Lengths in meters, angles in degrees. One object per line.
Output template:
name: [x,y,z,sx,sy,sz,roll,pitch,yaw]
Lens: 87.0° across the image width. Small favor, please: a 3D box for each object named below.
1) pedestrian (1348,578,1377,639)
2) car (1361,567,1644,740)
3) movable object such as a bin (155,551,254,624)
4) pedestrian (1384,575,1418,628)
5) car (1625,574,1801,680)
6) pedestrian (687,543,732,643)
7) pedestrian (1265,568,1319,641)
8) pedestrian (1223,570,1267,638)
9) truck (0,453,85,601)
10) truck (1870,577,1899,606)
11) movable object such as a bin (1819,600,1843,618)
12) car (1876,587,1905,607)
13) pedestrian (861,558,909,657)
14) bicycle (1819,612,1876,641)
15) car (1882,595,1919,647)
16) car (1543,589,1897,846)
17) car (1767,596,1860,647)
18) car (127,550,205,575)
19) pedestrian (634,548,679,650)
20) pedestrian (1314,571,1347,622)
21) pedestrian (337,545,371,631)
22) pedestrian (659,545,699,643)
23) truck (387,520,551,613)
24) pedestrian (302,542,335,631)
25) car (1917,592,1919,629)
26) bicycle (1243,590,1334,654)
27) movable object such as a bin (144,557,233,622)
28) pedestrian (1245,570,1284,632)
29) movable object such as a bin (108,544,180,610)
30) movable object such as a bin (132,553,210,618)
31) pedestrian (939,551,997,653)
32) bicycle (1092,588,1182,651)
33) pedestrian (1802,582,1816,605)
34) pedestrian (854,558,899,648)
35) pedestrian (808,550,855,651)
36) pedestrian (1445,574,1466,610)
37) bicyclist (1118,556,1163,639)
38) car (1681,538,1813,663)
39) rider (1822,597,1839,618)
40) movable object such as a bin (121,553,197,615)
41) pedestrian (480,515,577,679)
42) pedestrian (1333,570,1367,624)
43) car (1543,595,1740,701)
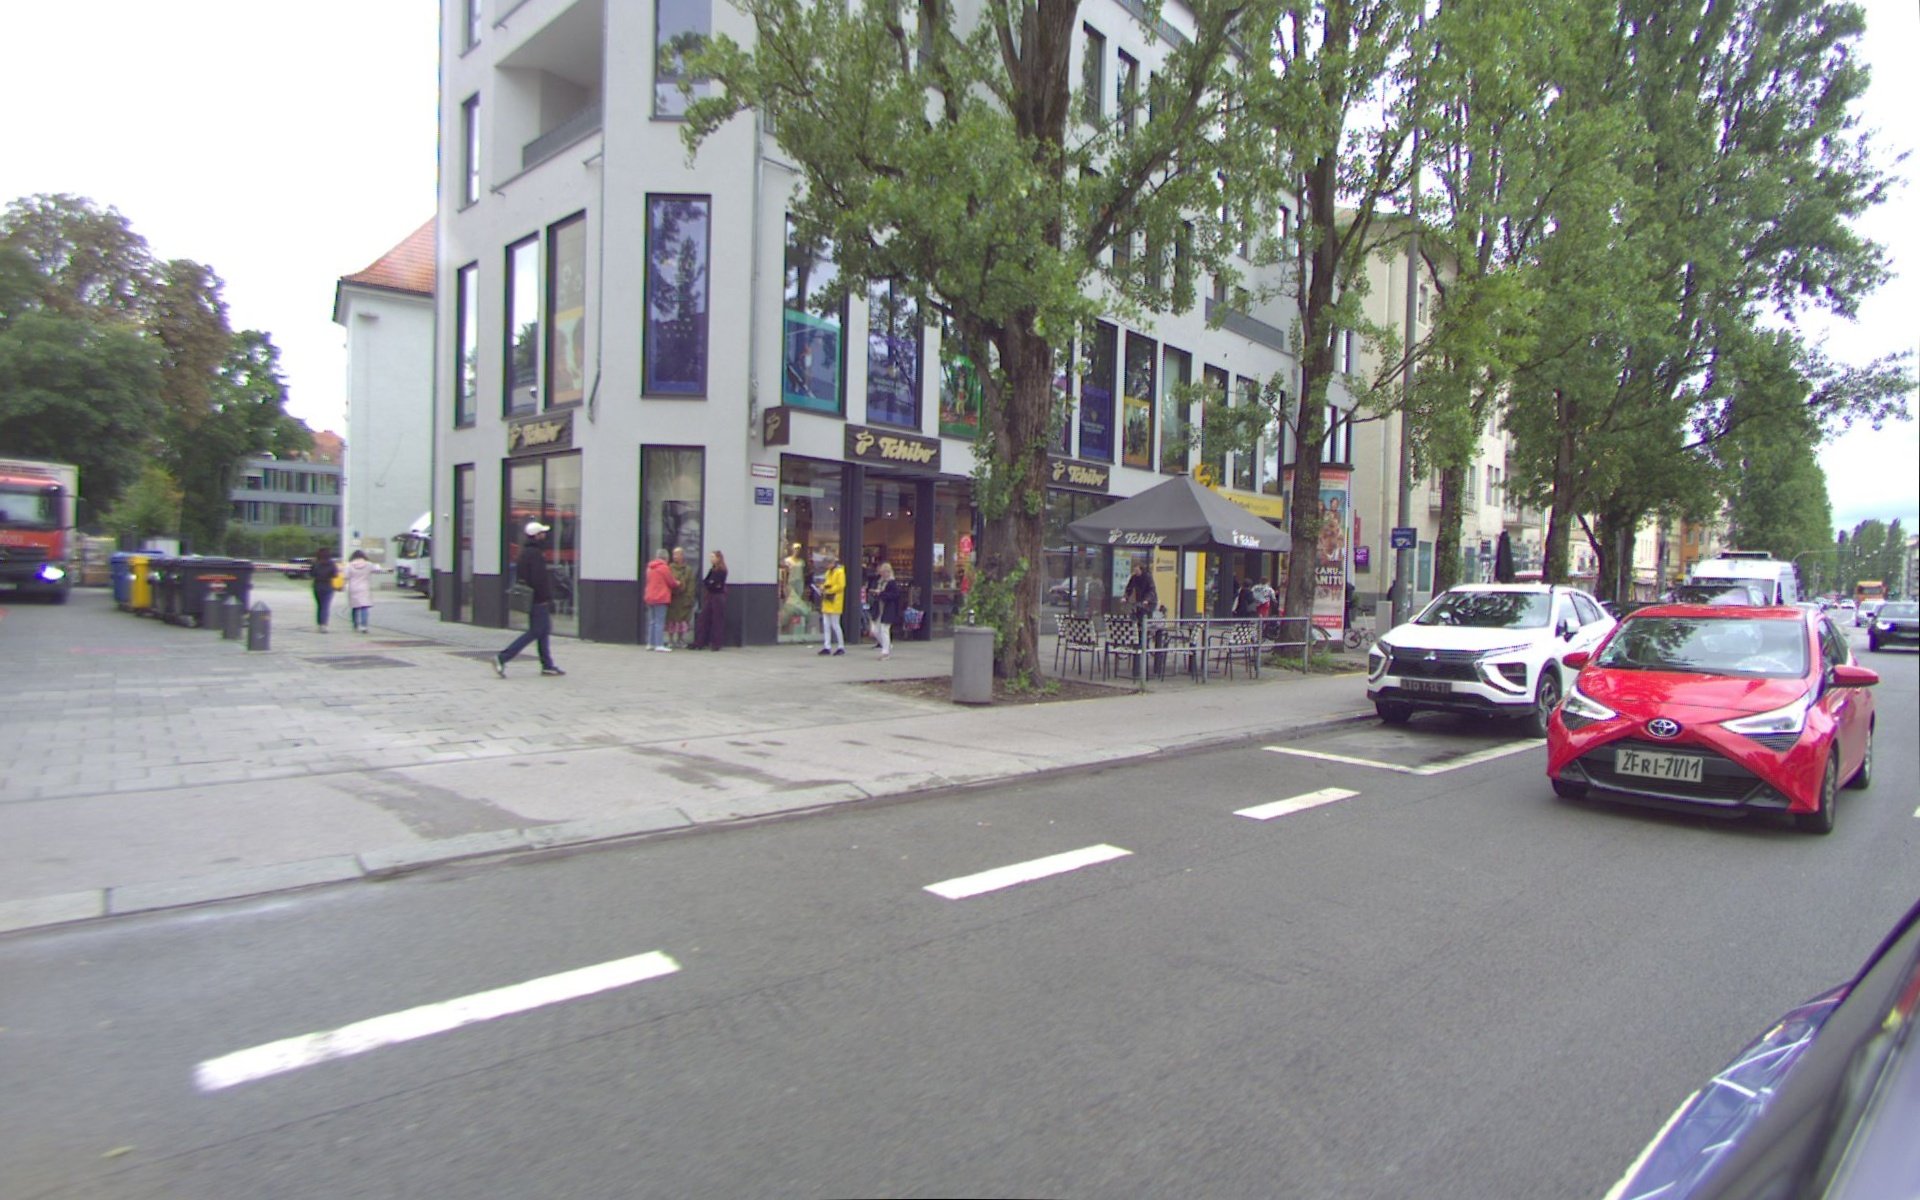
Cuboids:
pedestrian: [9.150,0.180,23.005,0.590,1.358,0.389,0,1,22]
car: [6.623,0.502,12.130,4.335,1.707,1.729,0,1,-44]
movable object such as a bin: [-14.699,-0.242,19.705,1.109,1.334,1.370,4,1,45]
pedestrian: [15.141,0.041,34.767,0.724,1.745,0.723,2,2,-10]
car: [14.718,0.437,19.674,4.699,1.827,1.931,0,1,-43]
pedestrian: [-4.190,-0.127,16.961,0.545,1.644,0.502,0,1,31]
pedestrian: [7.800,0.098,23.769,0.800,1.657,1.007,3,2,45]
pedestrian: [6.830,0.094,24.258,0.683,1.577,0.738,3,2,45]
truck: [-24.448,-1.840,25.911,5.552,3.494,2.591,3,2,44]
truck: [118.037,-1.118,129.249,2.534,3.531,7.632,3,2,42]
movable object such as a bin: [55.885,0.586,64.959,1.086,1.075,0.737,5,4,40]
car: [86.316,-0.269,93.882,1.854,1.726,3.939,4,3,42]
pedestrian: [-1.231,0.117,16.573,0.559,1.586,0.491,0,2,-40]
bicycle: [33.010,1.001,37.673,0.535,1.068,1.578,0,-2,-9]
car: [29.266,0.624,30.771,1.735,1.488,3.989,2,1,42]
car: [5.949,0.670,7.773,3.537,1.464,1.666,-1,1,-44]
car: [26.249,0.604,31.073,4.077,1.472,1.727,0,0,-43]
car: [-52.505,-2.486,66.944,3.932,1.528,1.731,0,2,-43]
pedestrian: [-5.003,-0.020,16.689,0.541,1.644,0.505,0,1,16]
pedestrian: [11.981,-0.126,32.724,0.691,1.604,0.761,3,2,43]
pedestrian: [-11.553,-0.232,19.311,0.540,1.600,0.508,0,1,-30]
pedestrian: [-4.798,-0.110,17.276,0.538,1.644,0.507,0,1,-32]
truck: [-19.810,-1.322,41.011,5.583,3.507,2.219,0,2,-41]
pedestrian: [-12.131,-0.261,19.138,0.490,1.644,0.508,0,1,-30]
car: [49.088,0.530,50.510,1.868,1.792,4.170,1,1,43]
bicycle: [6.581,0.421,20.353,0.876,1.153,1.516,1,2,-29]
movable object such as a bin: [-15.577,-0.208,20.432,1.109,1.236,1.279,4,1,45]
pedestrian: [8.025,0.019,26.682,0.683,1.577,0.738,3,2,45]
movable object such as a bin: [-19.072,-0.537,23.640,1.161,1.452,1.164,4,1,45]
movable object such as a bin: [-16.813,-0.304,21.565,1.161,1.310,1.164,4,1,45]
pedestrian: [0.141,0.019,18.026,0.666,1.746,0.760,3,2,36]
bicycle: [3.235,0.334,18.404,1.772,1.076,0.591,0,2,-41]
pedestrian: [70.304,-0.551,83.841,0.727,1.823,0.702,3,3,34]
pedestrian: [-1.517,0.036,18.482,0.558,1.595,0.673,2,2,20]
pedestrian: [-2.154,0.004,16.941,0.559,1.654,0.491,0,2,-40]
pedestrian: [23.211,-0.367,47.428,0.752,1.671,0.601,0,2,-45]
bicyclist: [3.276,-0.049,18.376,0.432,1.466,0.640,1,2,-40]
car: [19.670,-0.039,25.187,1.994,2.776,5.466,1,1,44]
rider: [55.888,0.460,64.978,0.729,1.256,0.722,5,4,40]
movable object such as a bin: [-17.716,-0.356,22.389,1.161,1.310,1.164,4,1,45]
pedestrian: [-5.350,-0.056,12.554,0.910,1.948,0.647,0,3,-43]
pedestrian: [12.174,-0.101,31.596,0.691,1.669,0.786,3,2,43]
car: [10.945,0.655,16.114,4.496,1.451,1.772,0,0,-45]
